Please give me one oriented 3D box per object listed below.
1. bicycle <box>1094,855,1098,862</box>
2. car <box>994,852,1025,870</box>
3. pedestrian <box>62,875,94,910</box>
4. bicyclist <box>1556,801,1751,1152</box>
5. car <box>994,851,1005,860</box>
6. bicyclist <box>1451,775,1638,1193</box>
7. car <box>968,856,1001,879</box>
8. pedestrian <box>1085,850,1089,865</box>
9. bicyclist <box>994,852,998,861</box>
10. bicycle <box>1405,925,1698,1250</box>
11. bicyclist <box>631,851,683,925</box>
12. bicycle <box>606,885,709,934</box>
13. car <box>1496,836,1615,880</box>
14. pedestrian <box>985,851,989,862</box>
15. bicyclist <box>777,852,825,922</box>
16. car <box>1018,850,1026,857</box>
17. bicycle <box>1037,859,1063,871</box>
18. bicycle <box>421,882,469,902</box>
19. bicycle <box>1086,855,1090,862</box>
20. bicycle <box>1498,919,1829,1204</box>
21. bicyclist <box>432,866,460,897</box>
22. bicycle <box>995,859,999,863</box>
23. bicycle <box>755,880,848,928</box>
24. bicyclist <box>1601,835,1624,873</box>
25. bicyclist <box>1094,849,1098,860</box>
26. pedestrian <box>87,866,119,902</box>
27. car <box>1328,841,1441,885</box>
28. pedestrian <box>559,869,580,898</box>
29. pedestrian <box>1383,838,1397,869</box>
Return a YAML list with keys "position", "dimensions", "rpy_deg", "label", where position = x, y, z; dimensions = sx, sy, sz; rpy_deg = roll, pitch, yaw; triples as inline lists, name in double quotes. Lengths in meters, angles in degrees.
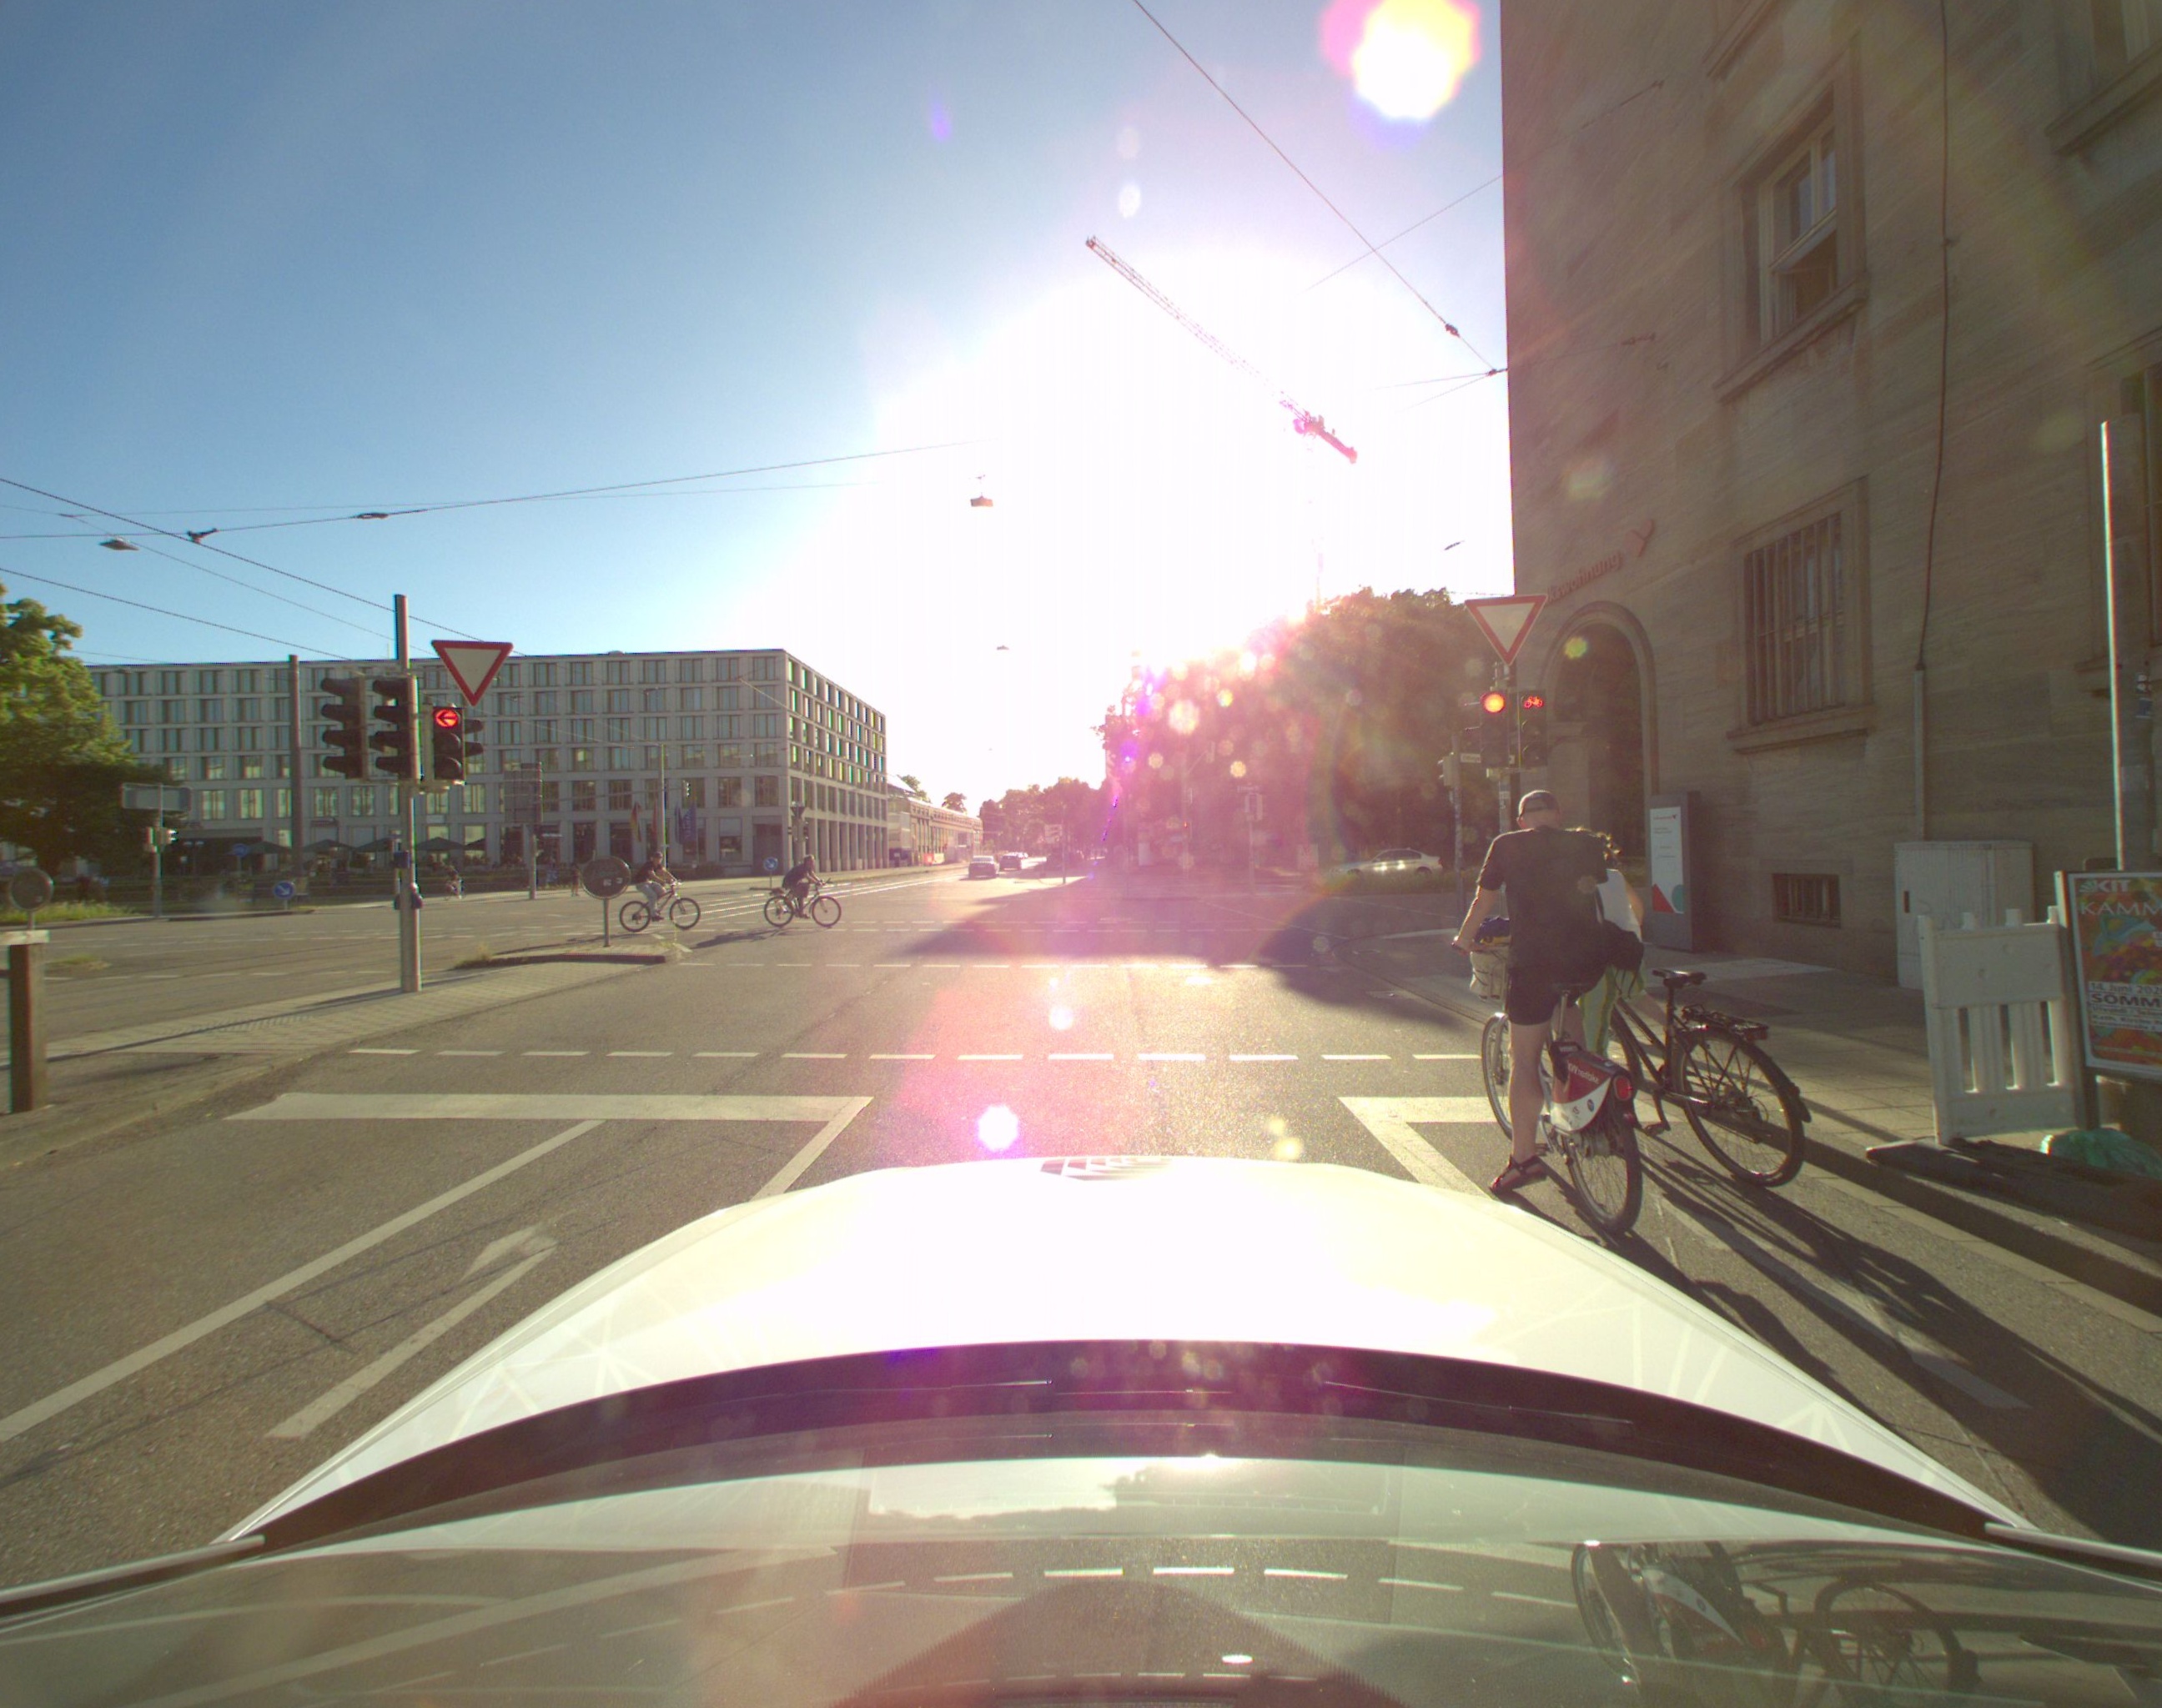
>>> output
- position: [2.339, 0.683, 126.367]
  dimensions: [0.573, 1.077, 1.831]
  rpy_deg: [-2, 0, 1]
  label: "bicycle"
- position: [-6.560, 0.637, 75.175]
  dimensions: [1.882, 1.565, 4.815]
  rpy_deg: [1, 0, 6]
  label: "car"
- position: [-55.094, 2.095, 44.743]
  dimensions: [0.711, 1.900, 0.877]
  rpy_deg: [-1, -1, 11]
  label: "pedestrian"
- position: [2.956, 0.592, 4.262]
  dimensions: [0.556, 1.691, 0.640]
  rpy_deg: [-1, 0, 0]
  label: "bicyclist"
- position: [-15.674, 0.267, 157.087]
  dimensions: [1.688, 1.718, 4.245]
  rpy_deg: [0, -1, -1]
  label: "car"
- position: [2.125, 0.561, 3.795]
  dimensions: [0.556, 1.799, 0.551]
  rpy_deg: [-1, 0, 3]
  label: "bicyclist"
- position: [-6.364, 0.844, 54.001]
  dimensions: [1.655, 1.455, 4.431]
  rpy_deg: [-1, 0, 0]
  label: "car"
- position: [0.751, 0.399, 98.394]
  dimensions: [0.462, 1.813, 0.502]
  rpy_deg: [-2, 0, -3]
  label: "pedestrian"
- position: [-13.423, 0.411, 128.967]
  dimensions: [0.594, 1.377, 0.637]
  rpy_deg: [0, -1, 0]
  label: "bicyclist"
- position: [2.123, 0.958, 3.952]
  dimensions: [0.513, 1.077, 1.729]
  rpy_deg: [-1, 0, 4]
  label: "bicycle"
- position: [-9.010, 0.704, 17.325]
  dimensions: [0.761, 1.524, 0.606]
  rpy_deg: [-2, 0, -3]
  label: "bicyclist"
- position: [-8.970, 1.164, 17.298]
  dimensions: [1.853, 0.935, 0.559]
  rpy_deg: [-2, 0, -4]
  label: "bicycle"
- position: [19.170, 0.152, 32.995]
  dimensions: [3.835, 1.611, 1.650]
  rpy_deg: [-2, 0, 1]
  label: "car"
- position: [-18.424, 0.509, 159.842]
  dimensions: [0.672, 2.014, 0.751]
  rpy_deg: [0, -1, -1]
  label: "pedestrian"
- position: [-6.004, 0.693, 17.502]
  dimensions: [0.796, 1.450, 0.617]
  rpy_deg: [-1, 0, -3]
  label: "bicyclist"
- position: [-14.247, -0.115, 195.336]
  dimensions: [1.688, 1.718, 4.245]
  rpy_deg: [0, -1, -1]
  label: "car"
- position: [-2.573, 0.907, 67.719]
  dimensions: [1.996, 0.891, 0.655]
  rpy_deg: [-4, -1, 29]
  label: "bicycle"
- position: [-32.922, 1.961, 42.199]
  dimensions: [0.755, 0.935, 1.870]
  rpy_deg: [-2, 0, 12]
  label: "bicycle"
- position: [1.018, 0.692, 126.256]
  dimensions: [0.573, 1.077, 1.831]
  rpy_deg: [-2, 0, 1]
  label: "bicycle"
- position: [2.945, 0.959, 4.369]
  dimensions: [0.532, 1.077, 1.751]
  rpy_deg: [-1, 0, 1]
  label: "bicycle"
- position: [-32.931, 1.409, 42.237]
  dimensions: [0.754, 1.589, 0.780]
  rpy_deg: [-2, 0, 11]
  label: "bicyclist"
- position: [-13.333, 1.131, 129.170]
  dimensions: [0.499, 0.515, 1.258]
  rpy_deg: [0, -1, 1]
  label: "bicycle"
- position: [-5.984, 1.065, 17.493]
  dimensions: [1.739, 0.935, 0.645]
  rpy_deg: [-2, 0, -3]
  label: "bicycle"
- position: [23.637, 0.000, 36.236]
  dimensions: [0.640, 1.683, 0.508]
  rpy_deg: [-2, 0, 7]
  label: "bicyclist"
- position: [2.326, 0.056, 126.376]
  dimensions: [0.567, 1.691, 0.700]
  rpy_deg: [-2, 0, 1]
  label: "bicyclist"
- position: [-54.858, 1.660, 45.686]
  dimensions: [0.837, 2.014, 0.827]
  rpy_deg: [-1, -1, 11]
  label: "pedestrian"
- position: [12.347, 0.352, 33.272]
  dimensions: [3.979, 1.611, 1.650]
  rpy_deg: [-2, 0, 1]
  label: "car"
- position: [-28.622, 1.623, 45.590]
  dimensions: [0.774, 1.589, 0.590]
  rpy_deg: [-2, 0, -6]
  label: "pedestrian"
- position: [16.654, -0.013, 43.855]
  dimensions: [0.580, 1.663, 0.515]
  rpy_deg: [0, 1, 4]
  label: "pedestrian"
